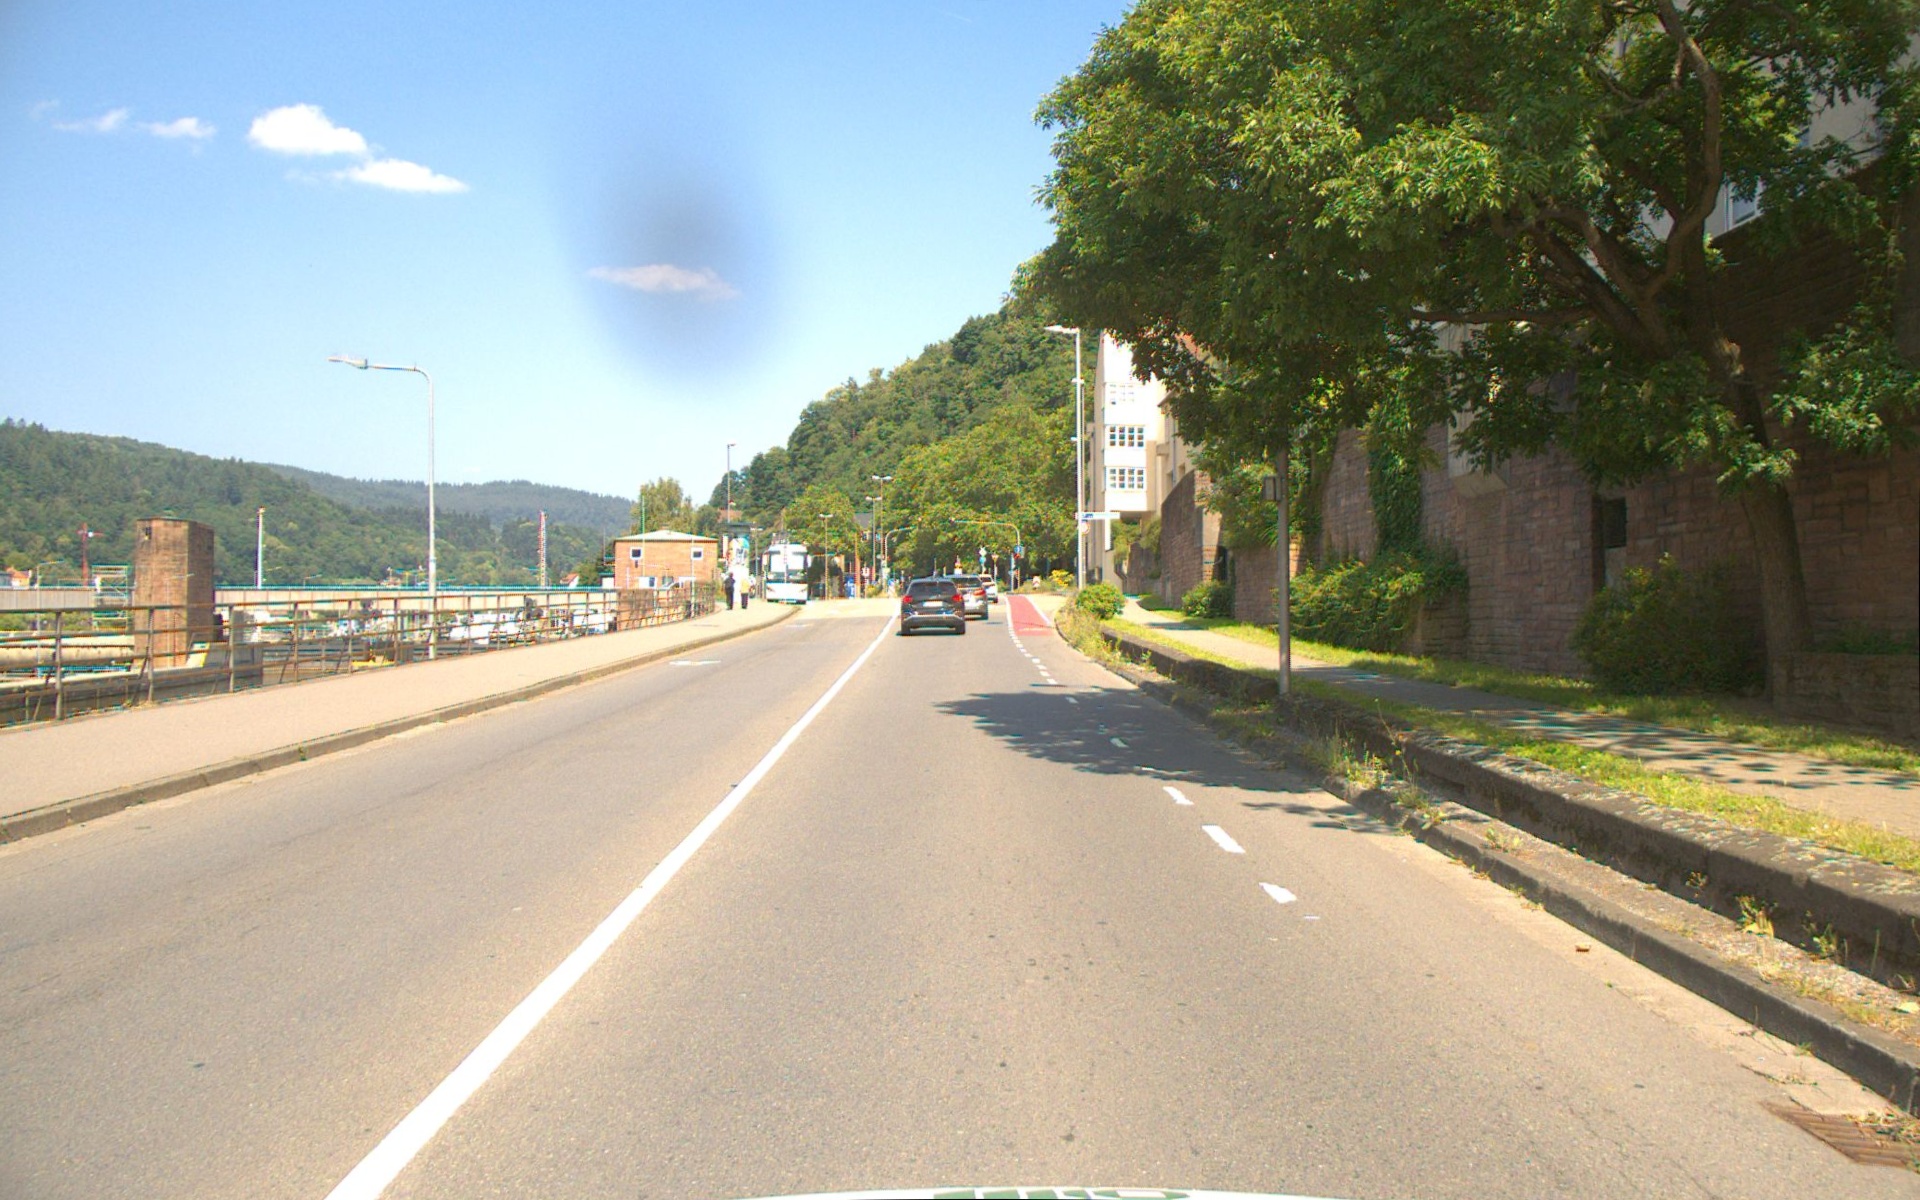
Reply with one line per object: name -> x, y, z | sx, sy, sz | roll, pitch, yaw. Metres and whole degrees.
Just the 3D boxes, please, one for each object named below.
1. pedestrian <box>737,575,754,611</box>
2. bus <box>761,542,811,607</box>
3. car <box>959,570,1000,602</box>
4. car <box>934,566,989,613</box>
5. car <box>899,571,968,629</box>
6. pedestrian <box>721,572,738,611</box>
pedestrian -> -9.894, -0.317, 76.329 | 0.688, 1.649, 0.816 | -1, 0, -3
bus -> -11.130, -1.555, 106.096 | 2.899, 3.867, 13.227 | -1, 0, -6
car -> 0.947, -0.700, 82.415 | 1.953, 1.560, 4.858 | 0, 0, -1
car -> 0.038, -0.363, 57.589 | 1.850, 1.547, 4.305 | 0, 0, -1
car -> -0.731, -0.008, 45.782 | 1.831, 1.540, 4.150 | 0, 0, -1
pedestrian -> -10.315, -0.389, 74.065 | 0.669, 1.739, 0.773 | -1, 0, -1
